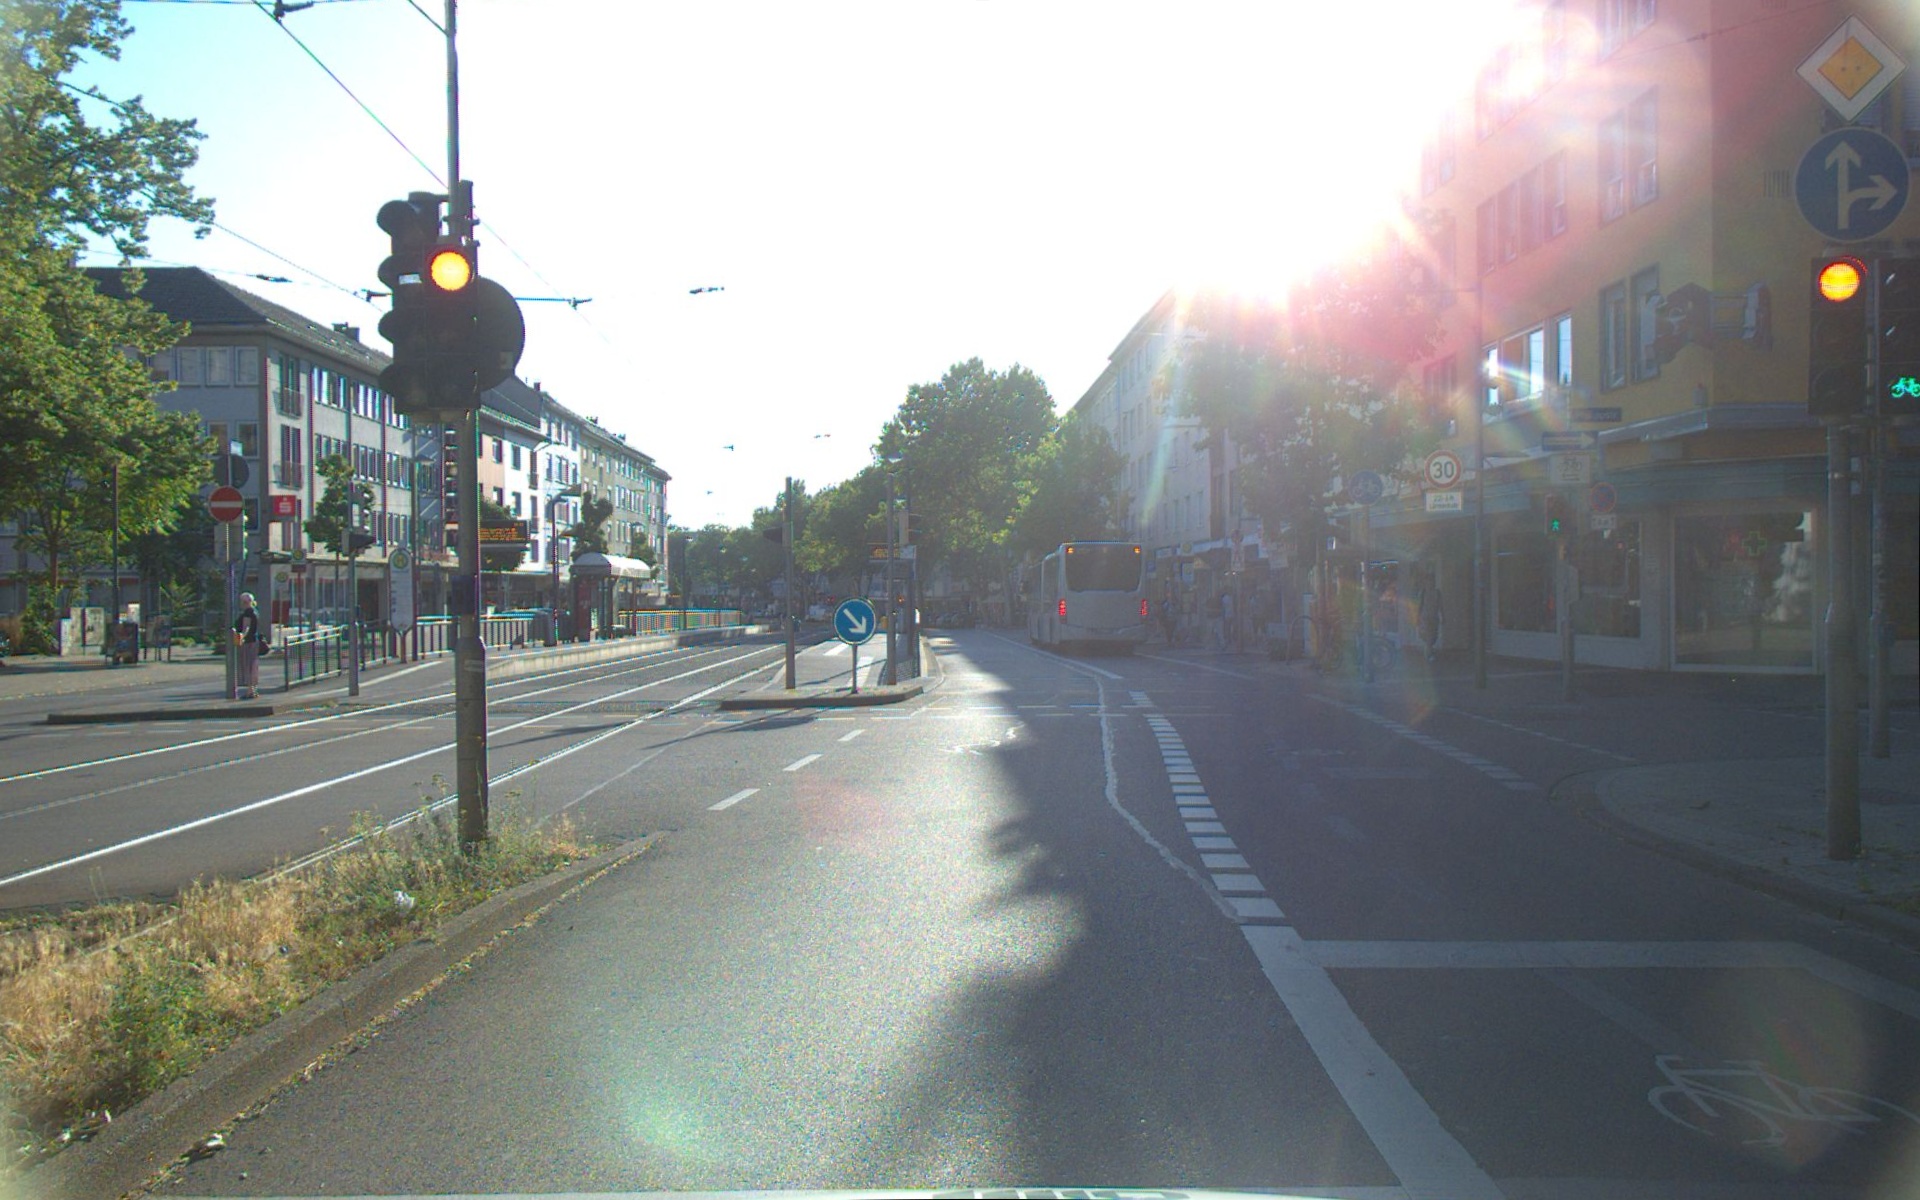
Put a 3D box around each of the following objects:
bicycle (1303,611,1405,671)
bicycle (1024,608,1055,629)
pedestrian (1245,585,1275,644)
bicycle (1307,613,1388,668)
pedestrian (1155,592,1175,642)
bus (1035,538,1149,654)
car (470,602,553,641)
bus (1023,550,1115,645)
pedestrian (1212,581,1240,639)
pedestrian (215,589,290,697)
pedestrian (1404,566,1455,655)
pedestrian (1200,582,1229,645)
[{"bbox_3d":[7.452,0.763,31.299,1.763,1.026,0.540,-3,0,-5],"label":"bicycle"},{"bbox_3d":[4.850,1.128,101.000,1.848,1.096,0.754,-5,0,1],"label":"bicycle"},{"bbox_3d":[9.095,0.433,50.143,0.709,1.753,0.766,-1,-1,-2],"label":"pedestrian"},{"bbox_3d":[7.481,0.782,31.968,1.453,1.026,0.454,-1,0,-5],"label":"bicycle"},{"bbox_3d":[6.751,0.551,54.544,0.597,1.606,0.851,-1,0,3],"label":"pedestrian"},{"bbox_3d":[3.848,-0.095,50.261,2.641,3.173,9.380,0,0,0],"label":"bus"},{"bbox_3d":[-21.022,0.969,77.579,1.734,1.709,3.500,-1,1,34],"label":"car"},{"bbox_3d":[3.782,-0.072,59.466,2.641,3.173,9.068,0,0,0],"label":"bus"},{"bbox_3d":[8.392,0.324,52.228,0.709,1.810,0.766,-1,-1,-2],"label":"pedestrian"},{"bbox_3d":[-12.021,0.719,28.129,0.900,1.791,0.832,-1,-1,0],"label":"pedestrian"},{"bbox_3d":[9.749,0.216,34.370,0.728,1.811,0.894,-2,-1,-2],"label":"pedestrian"},{"bbox_3d":[7.489,0.399,48.677,0.709,1.838,0.766,-1,-1,-2],"label":"pedestrian"}]
